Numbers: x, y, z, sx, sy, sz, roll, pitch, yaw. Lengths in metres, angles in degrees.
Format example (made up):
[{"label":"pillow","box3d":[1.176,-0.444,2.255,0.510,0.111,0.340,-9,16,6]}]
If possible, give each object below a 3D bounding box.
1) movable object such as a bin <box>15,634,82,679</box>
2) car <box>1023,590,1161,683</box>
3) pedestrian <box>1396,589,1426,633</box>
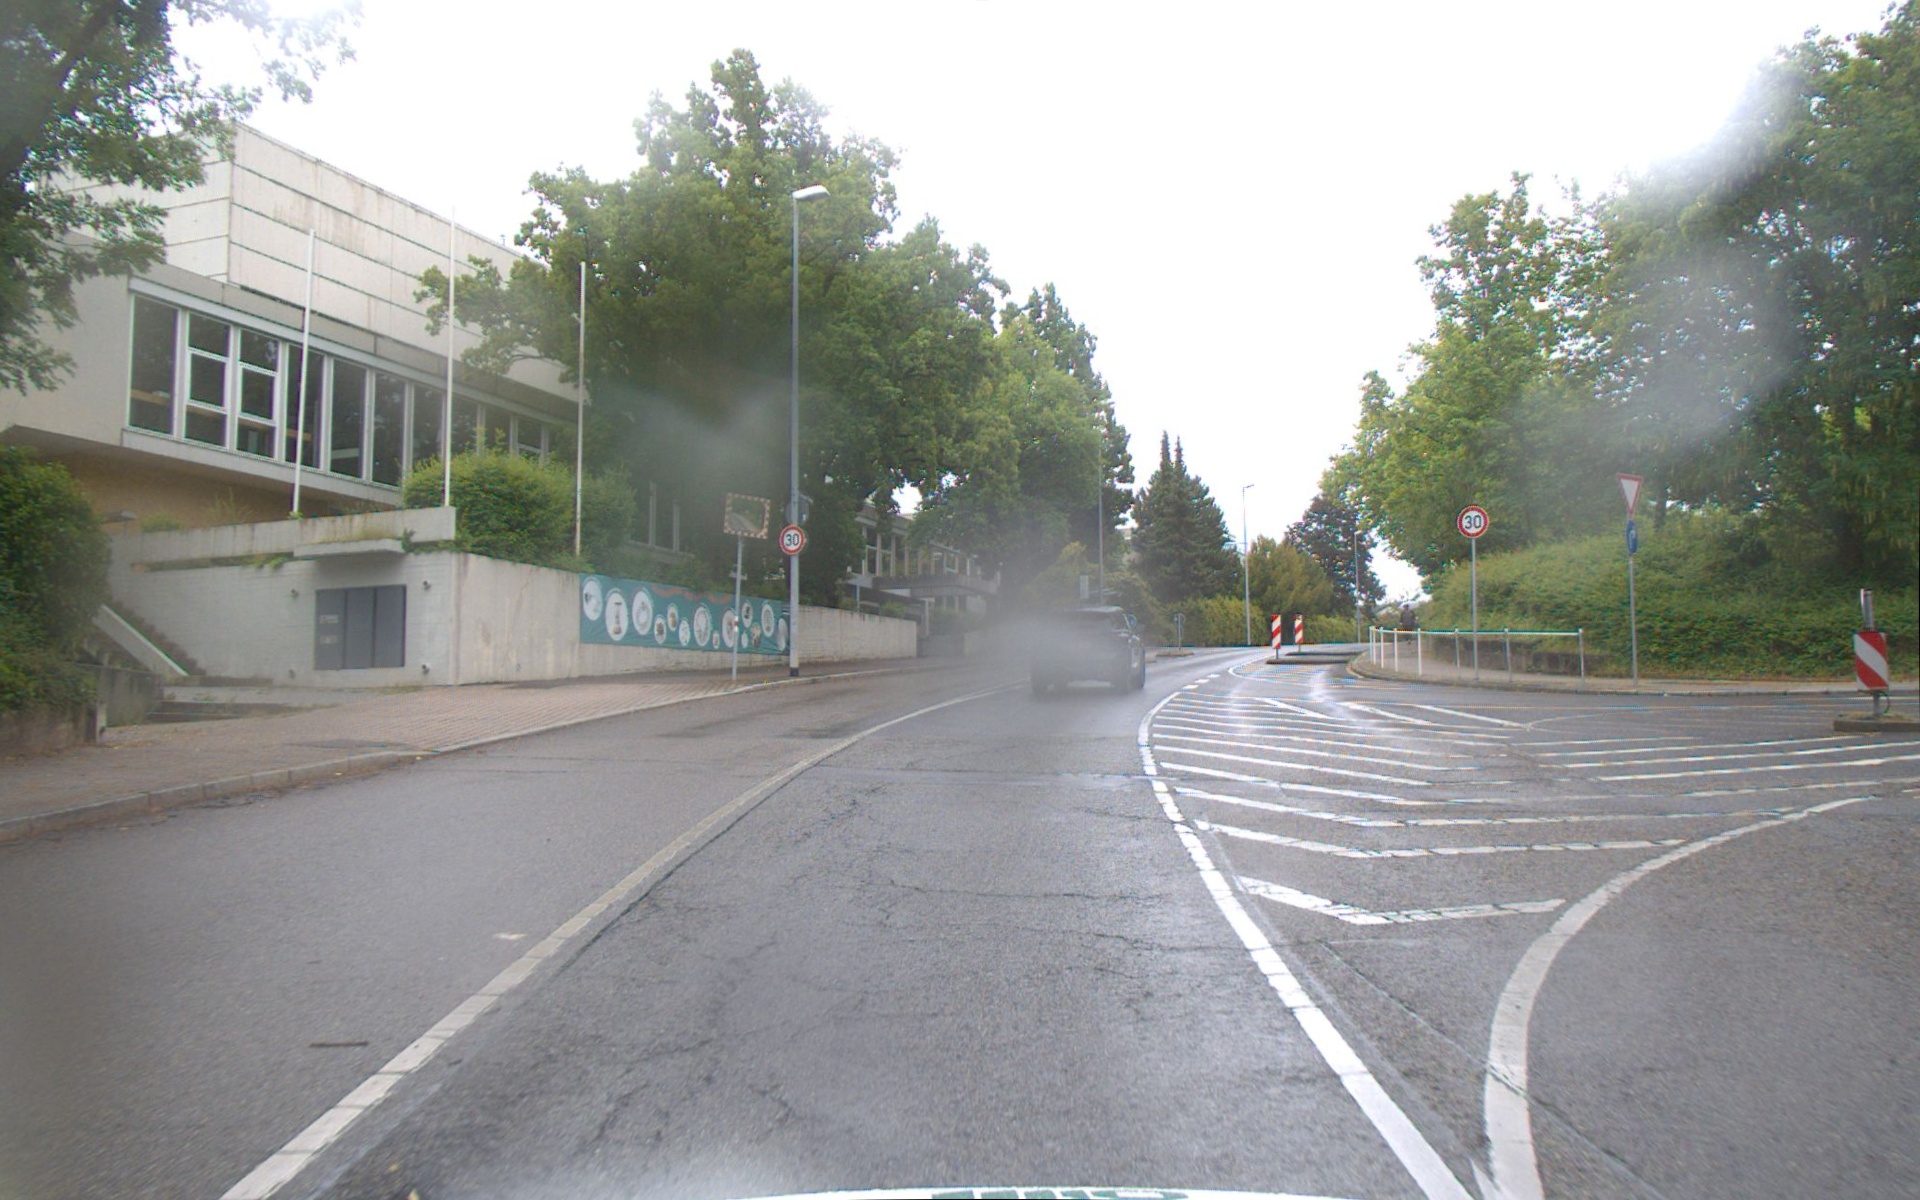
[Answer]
[{"label":"movable object such as a bin","box3d":[-17.842,1.103,32.388,1.011,0.807,0.604,-3,0,19]},{"label":"car","box3d":[2.576,0.645,31.408,1.887,1.641,4.003,1,0,15]},{"label":"pedestrian","box3d":[18.548,0.465,68.030,1.061,1.752,1.167,-4,-2,13]}]
